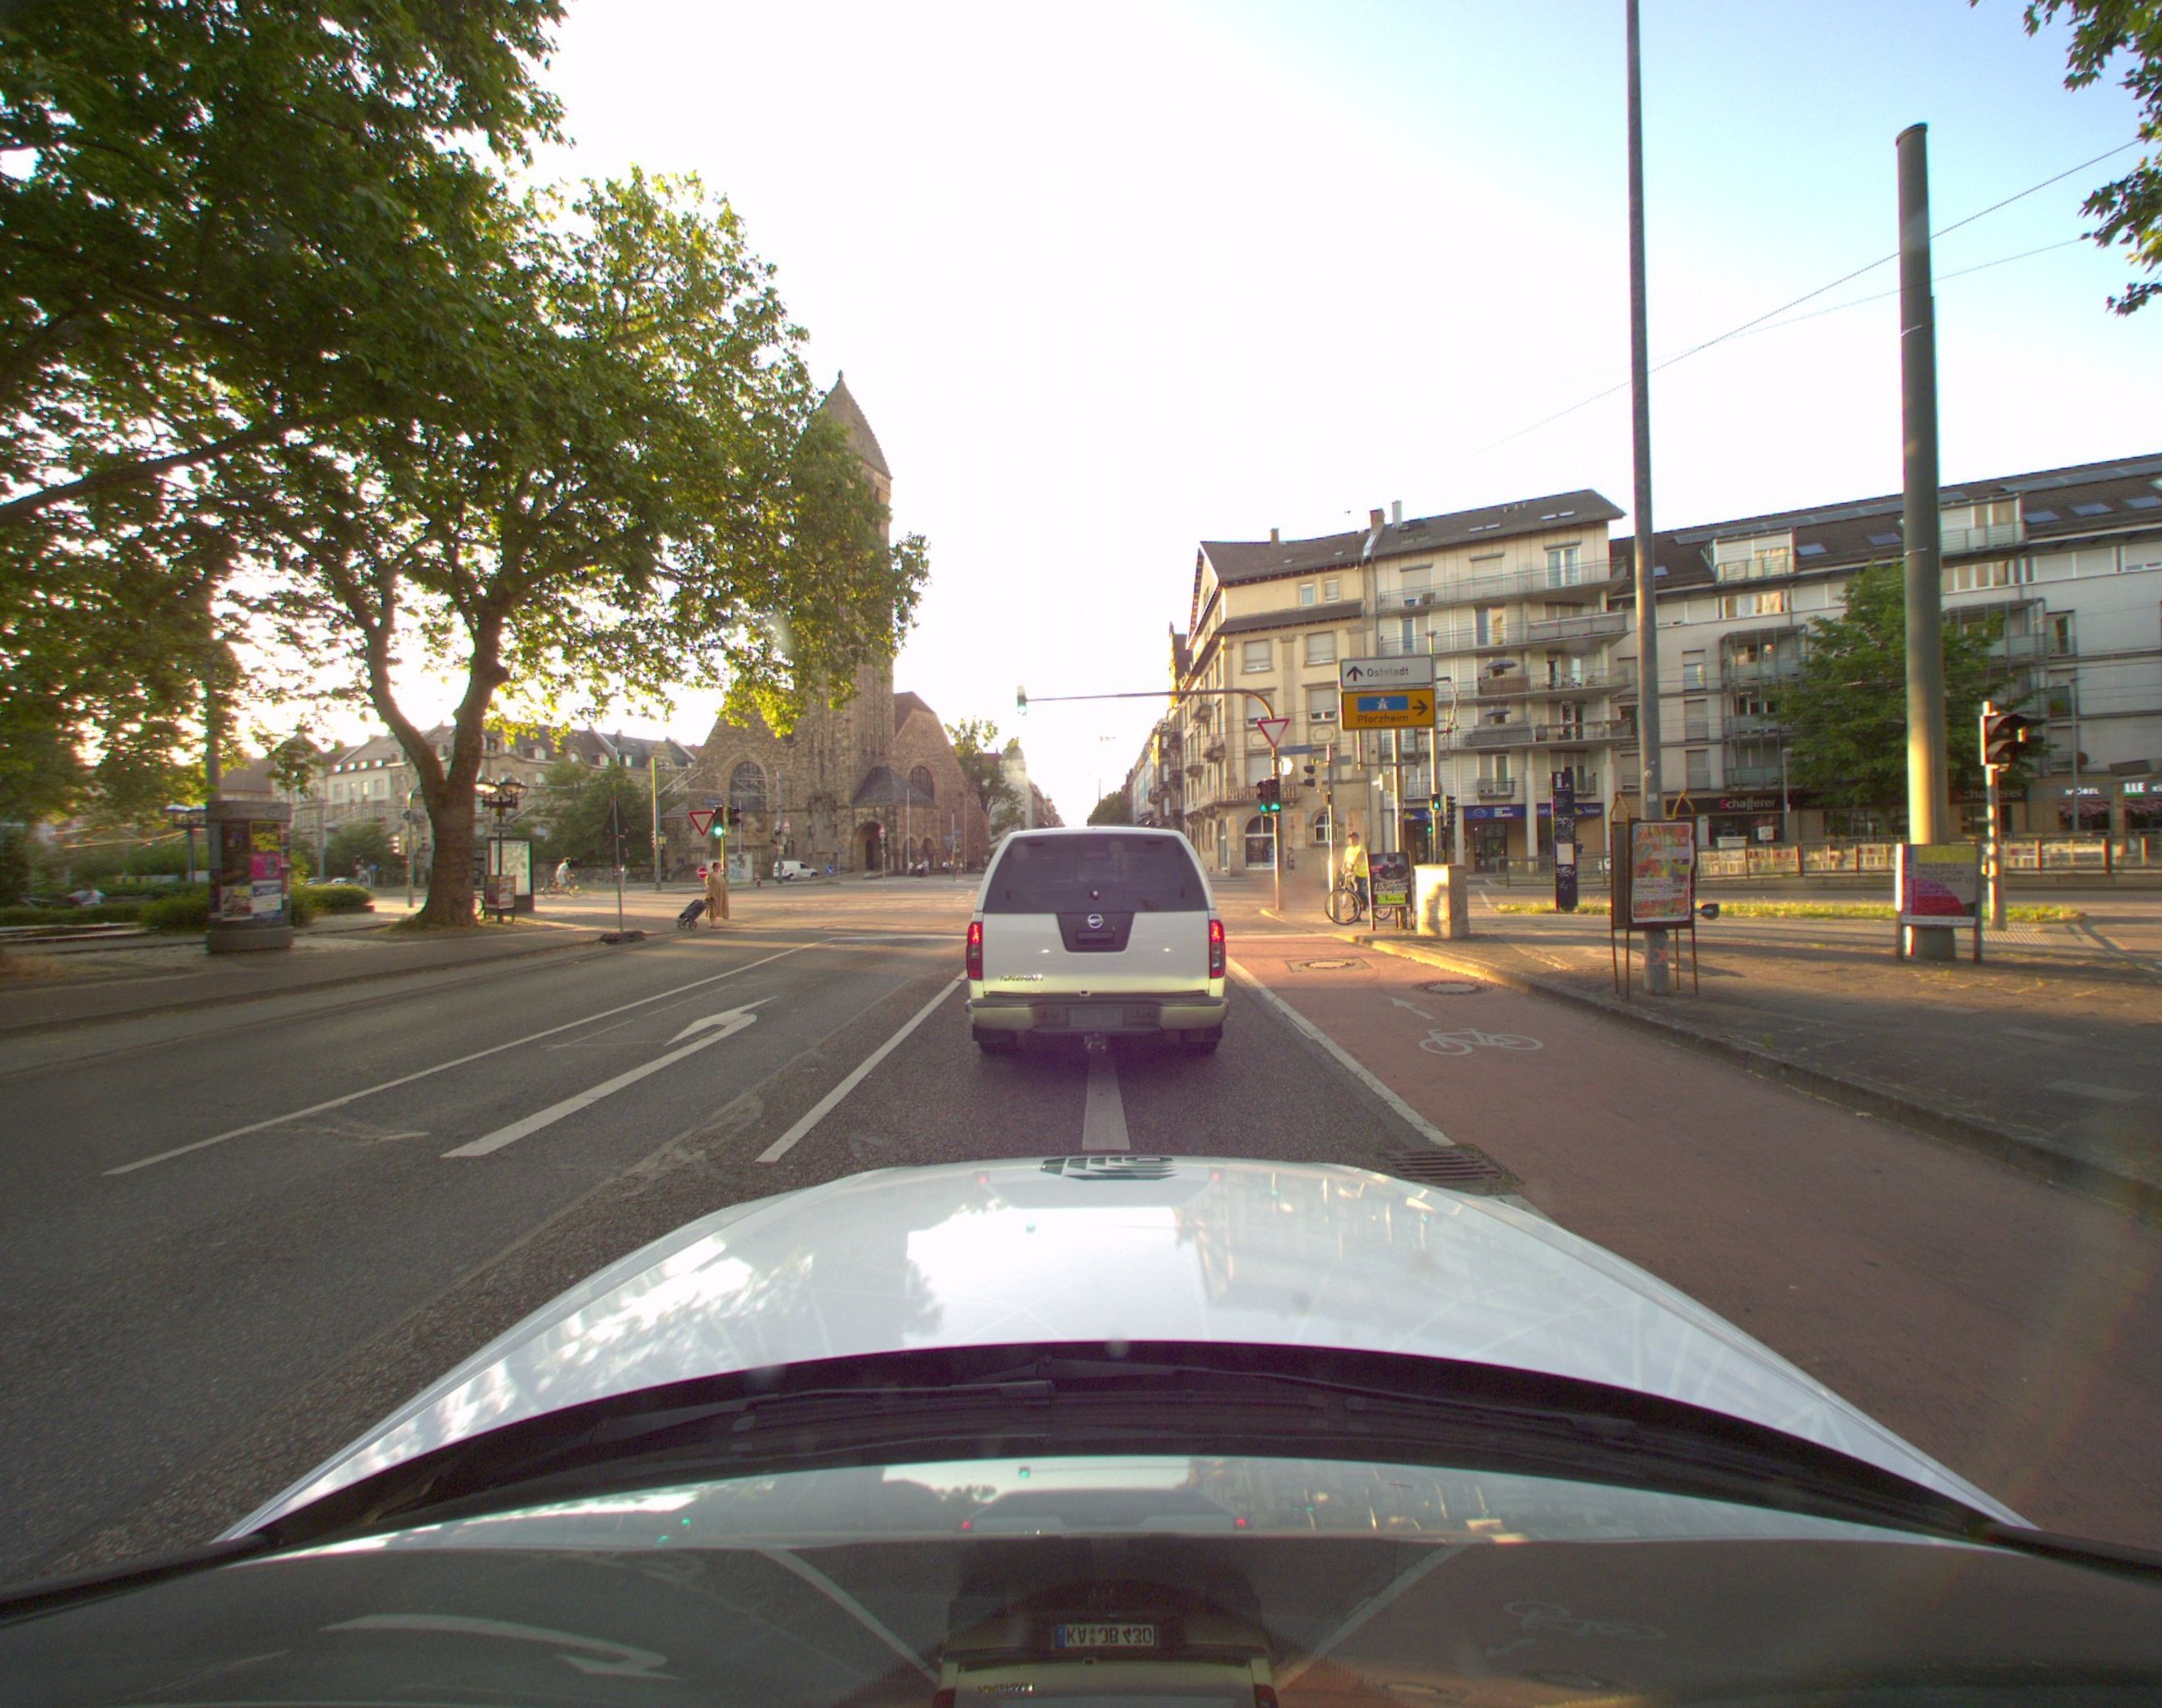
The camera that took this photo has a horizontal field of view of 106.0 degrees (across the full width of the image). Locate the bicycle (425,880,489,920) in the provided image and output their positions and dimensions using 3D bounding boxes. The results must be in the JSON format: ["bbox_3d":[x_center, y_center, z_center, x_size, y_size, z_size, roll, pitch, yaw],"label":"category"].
[{"bbox_3d":[-18.047,1.310,23.590,0.456,1.093,1.798,0,-1,0],"label":"bicycle"}]

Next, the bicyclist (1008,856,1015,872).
[{"bbox_3d":[-7.200,1.037,84.385,0.597,1.645,0.963,0,-1,0],"label":"bicyclist"}]

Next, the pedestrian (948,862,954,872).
[{"bbox_3d":[-12.897,1.251,80.707,0.522,0.960,0.477,0,-1,-14],"label":"pedestrian"}]

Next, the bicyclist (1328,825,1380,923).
[{"bbox_3d":[5.229,0.372,15.586,0.701,1.824,0.622,0,-1,-31],"label":"bicyclist"}]

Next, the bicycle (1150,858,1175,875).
[{"bbox_3d":[6.217,0.939,62.252,1.812,1.150,0.636,-5,-1,-1],"label":"bicycle"}]

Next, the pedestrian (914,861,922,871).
[{"bbox_3d":[-15.046,1.091,75.234,0.517,0.960,0.482,-1,-1,21],"label":"pedestrian"}]

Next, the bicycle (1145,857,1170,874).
[{"bbox_3d":[6.151,0.918,65.770,1.849,1.238,0.530,-5,-1,-1],"label":"bicycle"}]

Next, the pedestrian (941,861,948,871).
[{"bbox_3d":[-13.600,1.157,80.913,0.517,0.960,0.481,-1,-1,19],"label":"pedestrian"}]

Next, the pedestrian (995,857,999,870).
[{"bbox_3d":[-11.035,1.254,107.133,0.559,1.695,0.643,0,-1,-6],"label":"pedestrian"}]

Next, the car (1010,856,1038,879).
[{"bbox_3d":[-4.796,1.112,68.931,1.987,1.784,4.798,-2,0,0],"label":"car"}]

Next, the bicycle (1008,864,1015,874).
[{"bbox_3d":[-7.188,1.561,84.353,0.597,1.043,1.945,0,-1,-1],"label":"bicycle"}]

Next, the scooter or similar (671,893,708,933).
[{"bbox_3d":[-9.436,1.419,19.655,0.591,0.898,0.849,0,-1,-9],"label":"scooter or similar"}]

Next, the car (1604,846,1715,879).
[{"bbox_3d":[26.843,0.413,37.945,3.950,1.486,1.860,-1,-1,26],"label":"car"}]

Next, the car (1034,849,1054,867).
[{"bbox_3d":[-4.409,0.468,97.479,1.987,2.014,4.950,-2,-1,0],"label":"car"}]

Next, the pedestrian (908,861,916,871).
[{"bbox_3d":[-15.658,1.100,75.524,0.517,0.960,0.482,-1,-1,21],"label":"pedestrian"}]

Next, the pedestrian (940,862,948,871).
[{"bbox_3d":[-14.996,1.383,89.150,0.547,0.960,0.713,-1,-1,22],"label":"pedestrian"}]

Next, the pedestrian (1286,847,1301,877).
[{"bbox_3d":[12.630,0.498,48.423,0.779,1.779,0.546,-1,-1,27],"label":"pedestrian"}]

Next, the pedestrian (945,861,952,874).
[{"bbox_3d":[-13.388,1.359,82.452,0.474,1.245,0.526,-1,-1,19],"label":"pedestrian"}]

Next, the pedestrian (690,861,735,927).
[{"bbox_3d":[-9.301,0.998,20.554,0.800,1.628,0.773,0,-1,-3],"label":"pedestrian"}]

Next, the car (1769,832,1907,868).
[{"bbox_3d":[32.686,-0.150,35.317,3.952,1.486,1.859,-1,-1,21],"label":"car"}]

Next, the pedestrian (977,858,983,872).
[{"bbox_3d":[-12.447,1.335,100.317,0.640,1.695,0.562,0,-1,1],"label":"pedestrian"}]

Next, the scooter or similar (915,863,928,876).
[{"bbox_3d":[-14.052,1.339,71.825,0.629,1.103,1.082,-4,0,13],"label":"scooter or similar"}]

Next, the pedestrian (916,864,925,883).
[{"bbox_3d":[-14.405,1.744,72.985,0.630,1.698,0.604,-1,-1,9],"label":"pedestrian"}]

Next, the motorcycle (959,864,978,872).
[{"bbox_3d":[-13.338,1.675,96.517,2.146,0.988,0.597,-1,-1,21],"label":"motorcycle"}]

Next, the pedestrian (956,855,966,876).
[{"bbox_3d":[-11.052,1.085,75.232,0.809,1.901,0.666,0,-1,-1],"label":"pedestrian"}]

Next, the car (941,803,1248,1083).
[{"bbox_3d":[0.144,0.607,7.288,1.986,1.809,4.001,0,-1,2],"label":"car"}]

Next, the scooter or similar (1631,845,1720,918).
[{"bbox_3d":[10.617,0.484,14.556,1.219,1.249,0.518,-1,-1,41],"label":"scooter or similar"}]

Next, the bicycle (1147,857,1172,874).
[{"bbox_3d":[6.230,0.899,64.631,1.812,1.238,0.412,-5,-1,-1],"label":"bicycle"}]

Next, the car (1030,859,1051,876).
[{"bbox_3d":[-4.058,1.353,82.615,1.989,1.558,4.764,-3,0,-3],"label":"car"}]

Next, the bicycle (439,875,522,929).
[{"bbox_3d":[-15.819,1.228,21.510,0.522,1.326,1.998,-1,-1,7],"label":"bicycle"}]

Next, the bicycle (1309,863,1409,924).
[{"bbox_3d":[5.363,0.731,15.668,2.079,1.109,0.622,0,-1,-31],"label":"bicycle"}]

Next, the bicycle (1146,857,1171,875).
[{"bbox_3d":[6.107,0.924,63.907,1.812,1.238,0.477,-5,-1,-1],"label":"bicycle"}]

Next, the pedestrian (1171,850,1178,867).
[{"bbox_3d":[8.785,0.438,76.593,0.525,1.654,0.547,0,-1,1],"label":"pedestrian"}]

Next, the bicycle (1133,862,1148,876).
[{"bbox_3d":[4.653,1.143,63.634,1.073,1.024,0.317,-4,-1,-1],"label":"bicycle"}]

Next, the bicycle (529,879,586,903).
[{"bbox_3d":[-26.109,1.827,40.648,0.651,1.077,2.258,5,4,44],"label":"bicycle"}]

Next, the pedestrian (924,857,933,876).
[{"bbox_3d":[-13.660,1.080,72.861,0.629,1.698,0.605,-1,-1,12],"label":"pedestrian"}]

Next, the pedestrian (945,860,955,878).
[{"bbox_3d":[-12.069,1.352,75.099,0.809,1.669,0.859,0,-1,-1],"label":"pedestrian"}]

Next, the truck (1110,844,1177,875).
[{"bbox_3d":[5.334,0.438,68.844,5.704,2.565,2.260,0,-1,-42],"label":"truck"}]

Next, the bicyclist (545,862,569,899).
[{"bbox_3d":[-26.146,1.305,40.618,0.650,1.827,0.864,1,1,44],"label":"bicyclist"}]

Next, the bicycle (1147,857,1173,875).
[{"bbox_3d":[6.126,0.952,63.195,1.812,1.238,0.488,-5,-1,-1],"label":"bicycle"}]

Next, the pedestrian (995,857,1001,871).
[{"bbox_3d":[-10.811,1.324,106.287,0.643,1.855,0.559,0,-1,-13],"label":"pedestrian"}]

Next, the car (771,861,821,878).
[{"bbox_3d":[-26.340,1.398,75.363,1.698,1.517,4.481,-1,-1,26],"label":"car"}]

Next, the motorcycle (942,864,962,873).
[{"bbox_3d":[-14.591,1.626,92.228,2.239,0.988,0.707,0,-1,-4],"label":"motorcycle"}]

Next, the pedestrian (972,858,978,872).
[{"bbox_3d":[-12.738,1.346,98.021,0.642,1.695,0.560,0,-1,-7],"label":"pedestrian"}]

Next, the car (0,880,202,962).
[{"bbox_3d":[-26.816,1.745,21.368,1.975,1.781,4.669,-3,1,27],"label":"car"}]
